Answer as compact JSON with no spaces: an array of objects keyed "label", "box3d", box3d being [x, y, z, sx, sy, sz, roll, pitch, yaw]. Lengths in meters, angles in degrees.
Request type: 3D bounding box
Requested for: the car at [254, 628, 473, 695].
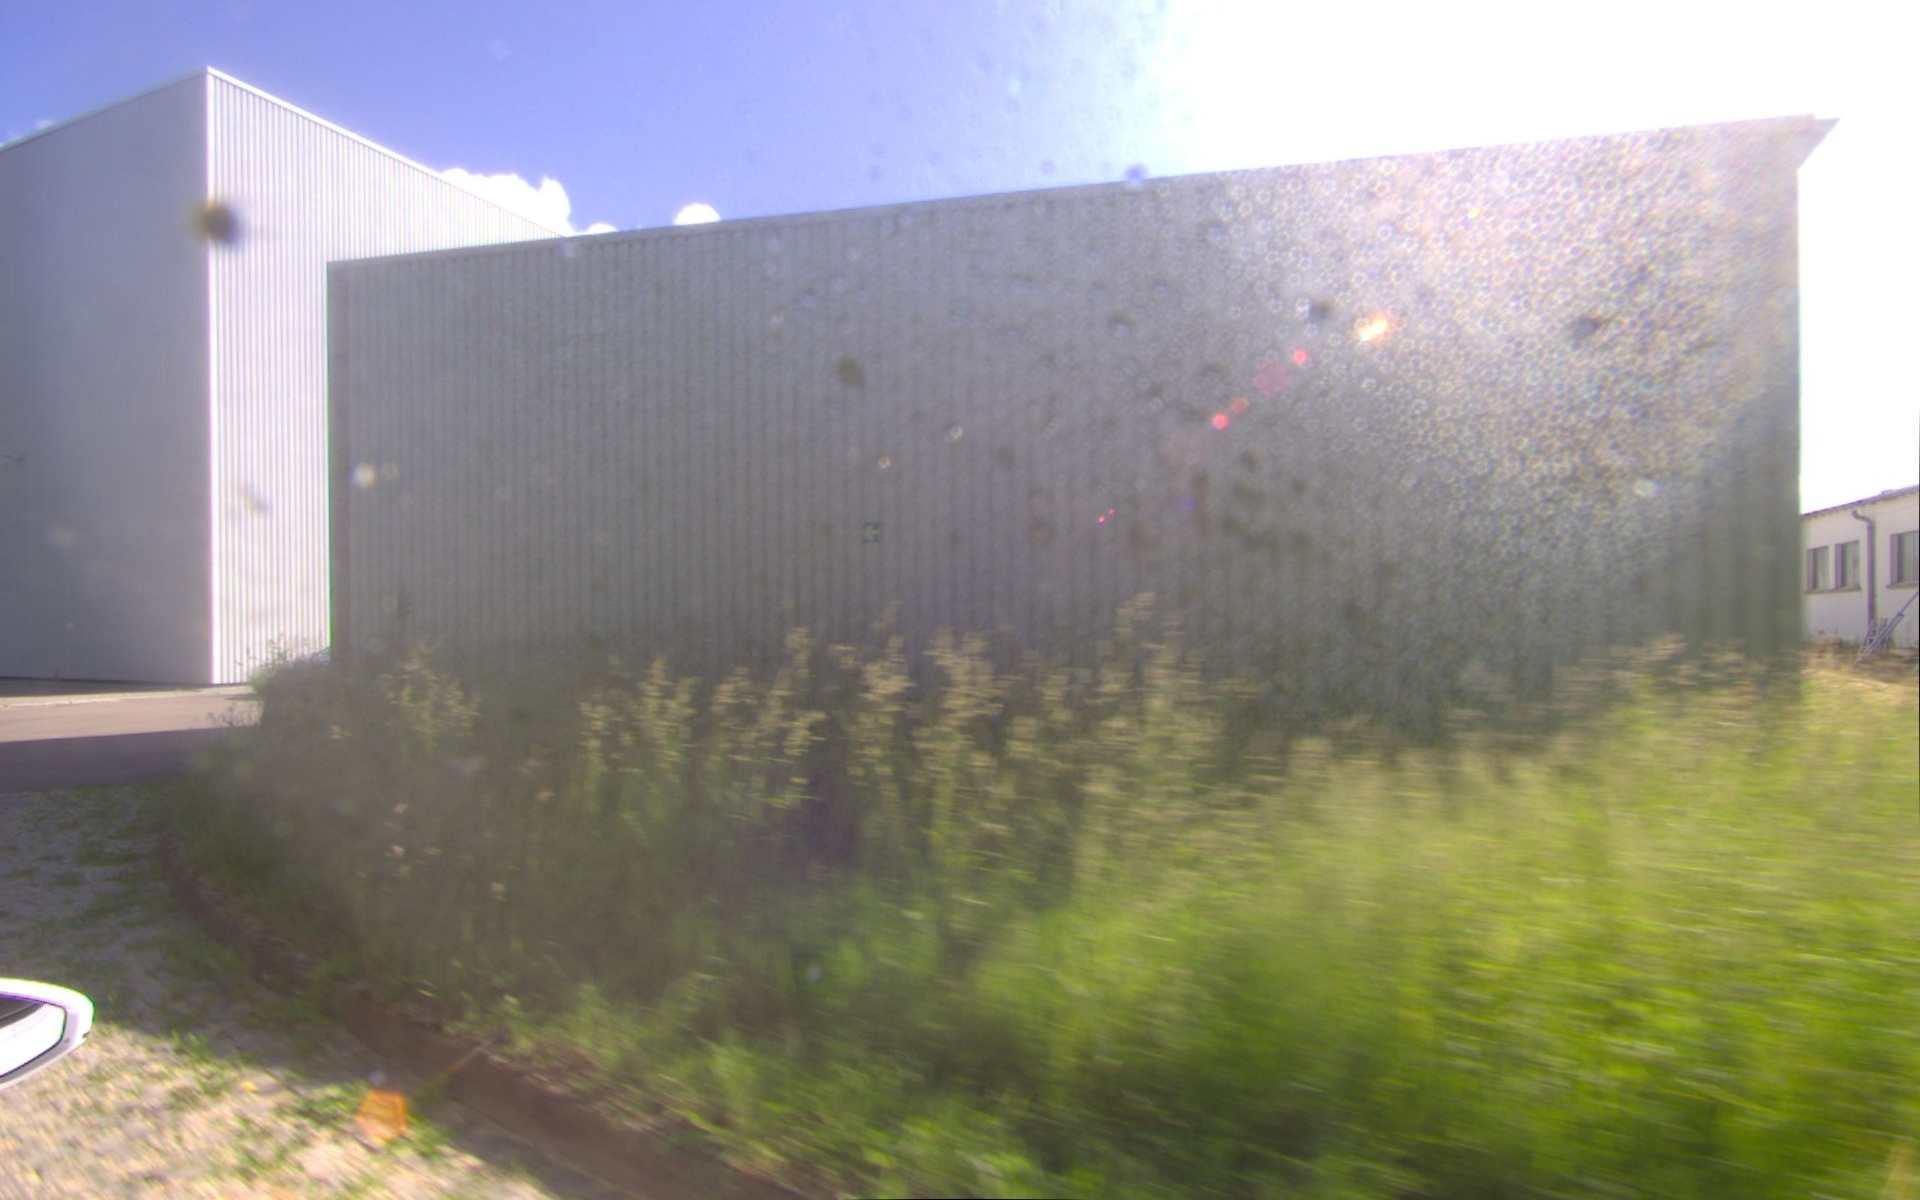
[{"label":"car","box3d":[-13.678,1.356,23.254,1.725,1.402,4.159,0,-1,23]}]
